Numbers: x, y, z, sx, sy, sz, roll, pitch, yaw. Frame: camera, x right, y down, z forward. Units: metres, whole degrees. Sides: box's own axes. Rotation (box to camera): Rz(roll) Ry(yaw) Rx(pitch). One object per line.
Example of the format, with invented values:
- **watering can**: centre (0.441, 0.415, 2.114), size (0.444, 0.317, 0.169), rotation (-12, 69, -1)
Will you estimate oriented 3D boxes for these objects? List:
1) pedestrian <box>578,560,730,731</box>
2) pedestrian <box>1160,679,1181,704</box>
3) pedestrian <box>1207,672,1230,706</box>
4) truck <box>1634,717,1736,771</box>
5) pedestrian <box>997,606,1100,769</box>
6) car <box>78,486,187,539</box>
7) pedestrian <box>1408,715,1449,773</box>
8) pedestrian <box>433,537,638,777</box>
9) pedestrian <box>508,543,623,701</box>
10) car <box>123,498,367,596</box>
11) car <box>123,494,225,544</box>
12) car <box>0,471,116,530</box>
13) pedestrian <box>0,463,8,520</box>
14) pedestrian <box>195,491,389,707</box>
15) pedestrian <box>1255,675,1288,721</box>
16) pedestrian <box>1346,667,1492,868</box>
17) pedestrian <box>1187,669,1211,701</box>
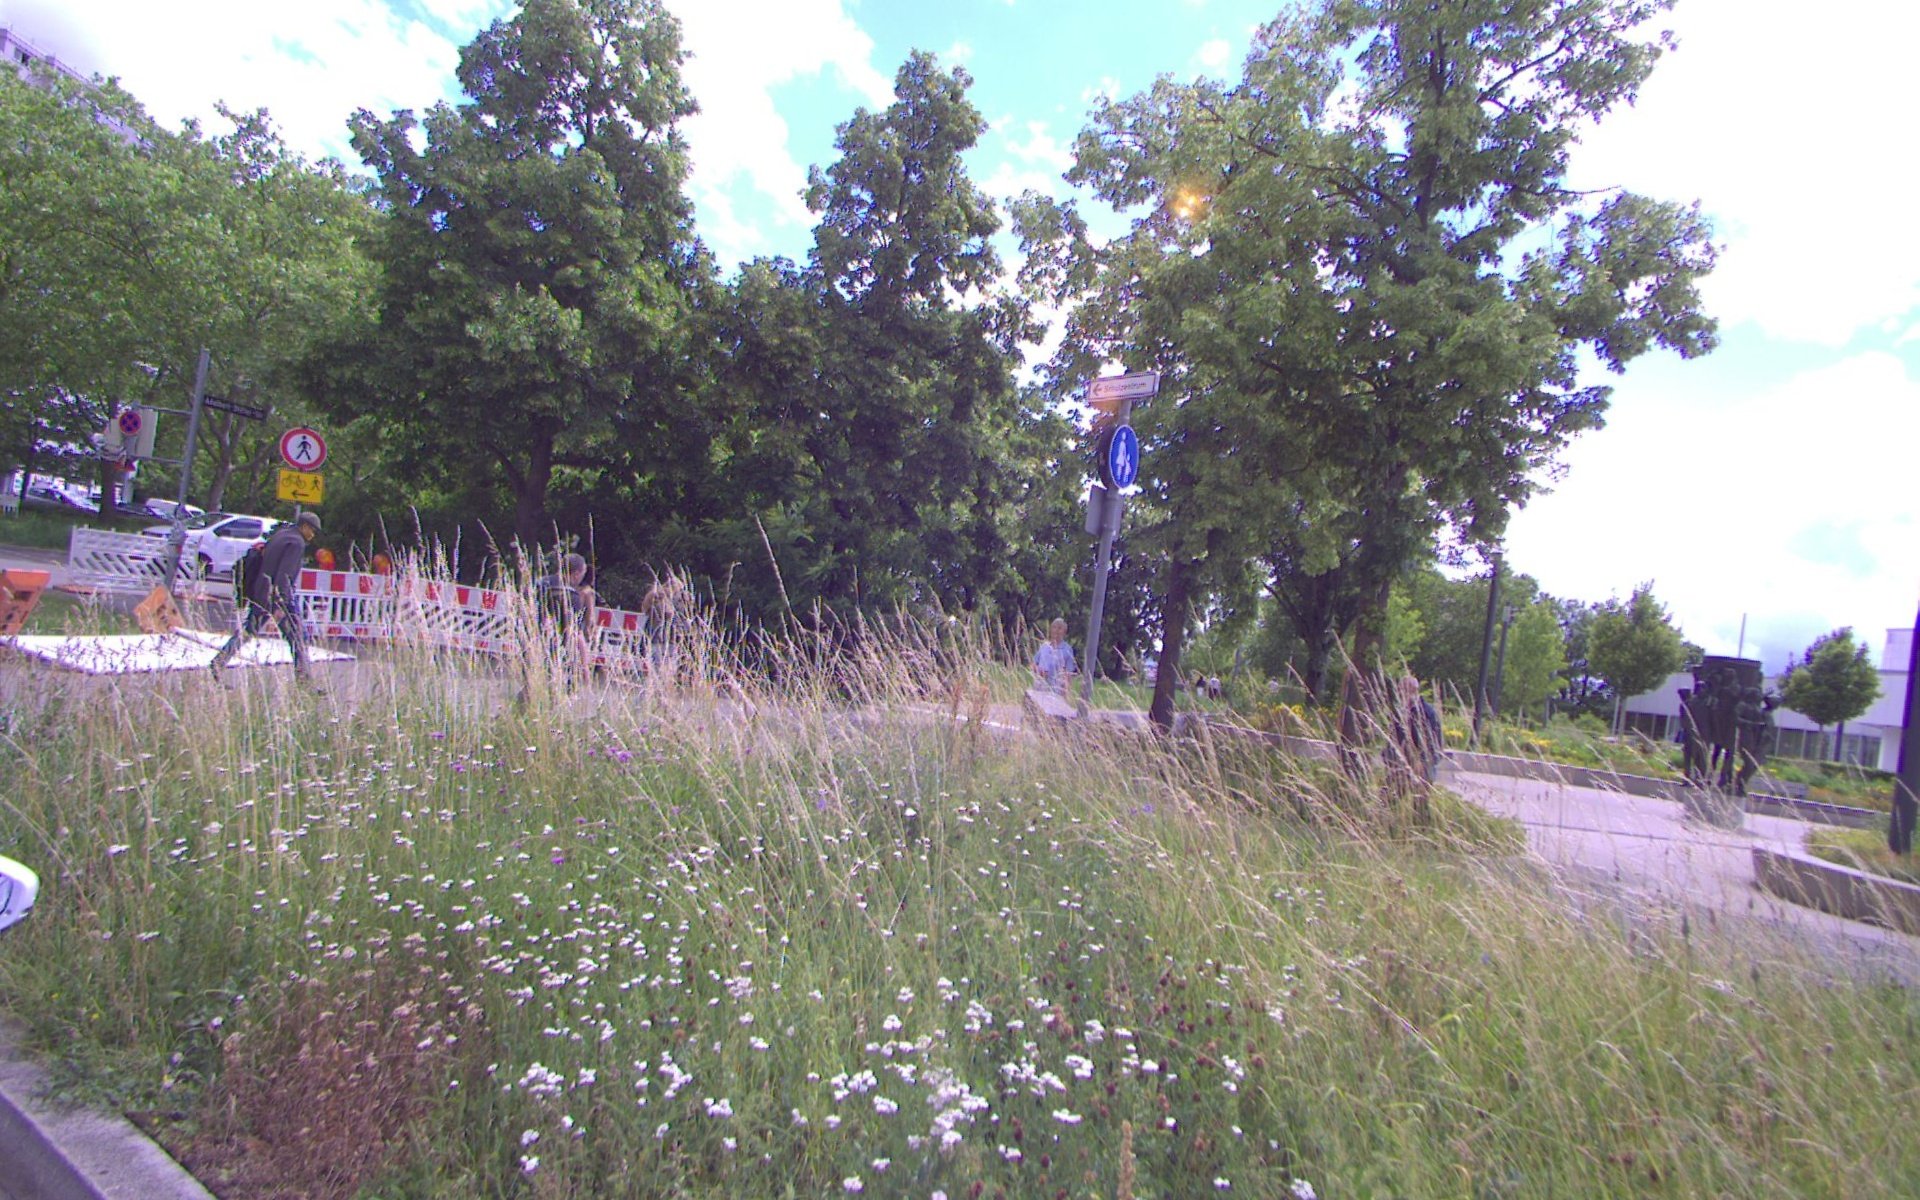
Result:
- **pedestrian**: centre (-3.267, 0.499, 10.767), size (0.915, 1.667, 1.021), rotation (7, -1, 37)
- **pedestrian**: centre (14.956, 6.511, 71.493), size (1.135, 1.571, 0.818), rotation (8, -1, -2)
- **pedestrian**: centre (14.314, 4.915, 55.706), size (0.879, 1.732, 0.817), rotation (8, -1, 30)
- **truck**: centre (37.324, 7.393, 51.920), size (1.965, 2.037, 3.999), rotation (8, -1, -4)
- **pedestrian**: centre (1.093, 1.068, 12.380), size (0.760, 1.862, 0.763), rotation (7, -1, 35)
- **car**: centre (-43.783, -4.602, 53.284), size (3.926, 2.037, 2.001), rotation (8, -1, 0)
- **pedestrian**: centre (10.781, 3.306, 23.149), size (0.623, 1.236, 0.618), rotation (7, -1, 36)
- **pedestrian**: centre (-3.281, 0.439, 7.825), size (0.865, 1.667, 0.960), rotation (7, -1, 30)
- **pedestrian**: centre (-4.749, 0.272, 12.127), size (0.816, 1.763, 0.782), rotation (7, -1, 38)
- **car**: centre (-19.711, -1.387, 28.049), size (1.915, 1.895, 5.090), rotation (7, -2, 28)
- **car**: centre (-44.238, -4.529, 56.688), size (3.926, 2.037, 2.001), rotation (8, -1, 0)
- **car**: centre (-43.689, -4.778, 48.568), size (3.926, 2.037, 2.001), rotation (8, -1, 0)
- **pedestrian**: centre (-7.312, -0.222, 6.916), size (0.917, 1.626, 0.911), rotation (7, -1, 43)
- **pedestrian**: centre (-6.077, 0.013, 9.179), size (0.914, 1.794, 1.004), rotation (7, -1, 32)
- **pedestrian**: centre (15.222, 4.779, 49.153), size (1.137, 2.037, 0.817), rotation (8, 0, 30)
- **pedestrian**: centre (4.187, 1.505, 9.231), size (0.751, 1.644, 0.772), rotation (8, -1, -5)
- **pedestrian**: centre (13.291, 4.730, 55.973), size (0.872, 1.681, 0.817), rotation (8, -1, 30)
